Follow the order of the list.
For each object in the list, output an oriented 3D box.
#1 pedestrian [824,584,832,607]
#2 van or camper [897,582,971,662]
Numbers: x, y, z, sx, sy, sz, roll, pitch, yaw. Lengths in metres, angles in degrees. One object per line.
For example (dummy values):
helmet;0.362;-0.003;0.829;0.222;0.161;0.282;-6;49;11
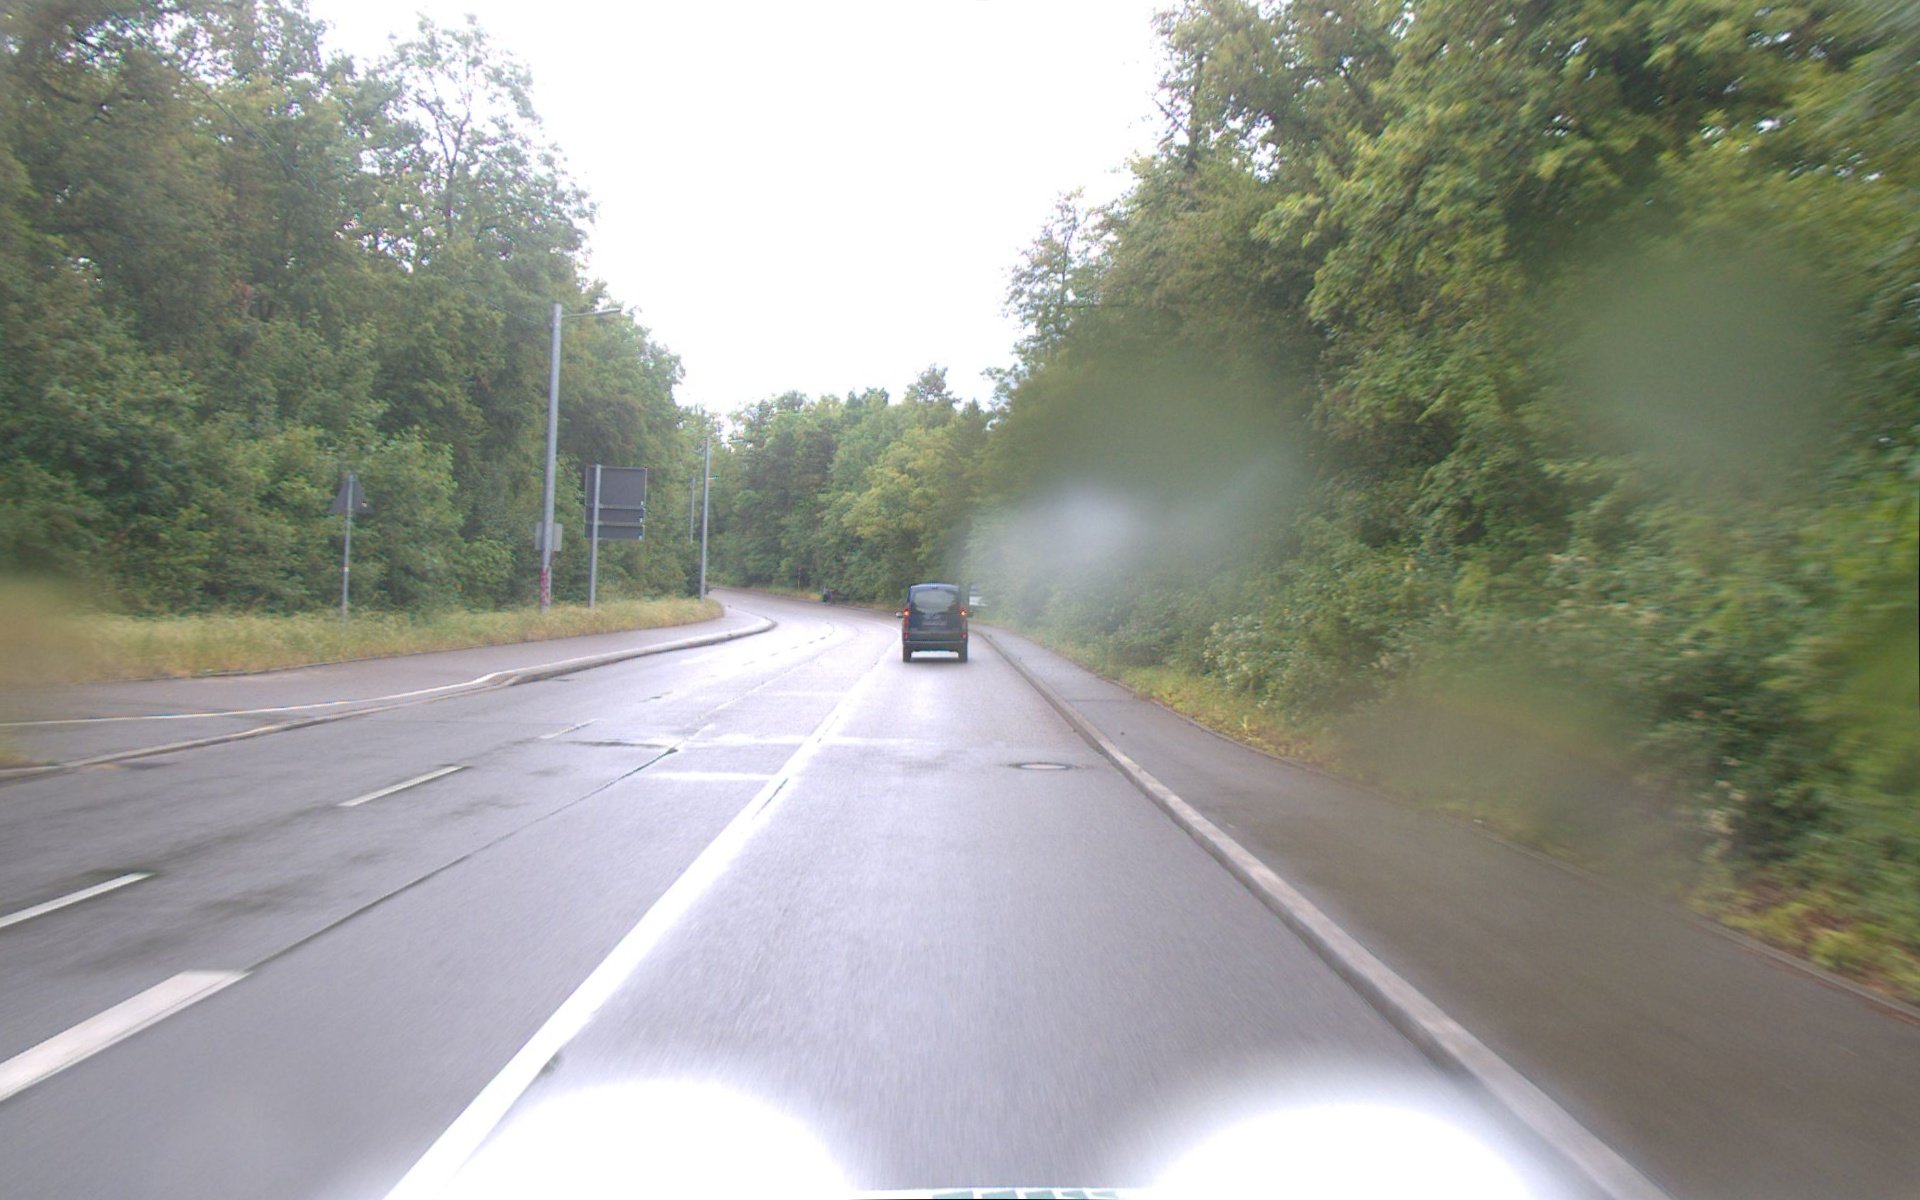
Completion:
pedestrian;-10.665;-0.372;133.741;0.482;1.903;0.677;1;0;-13
van or camper;-0.693;0.549;41.258;1.678;1.858;3.997;1;-1;-3
